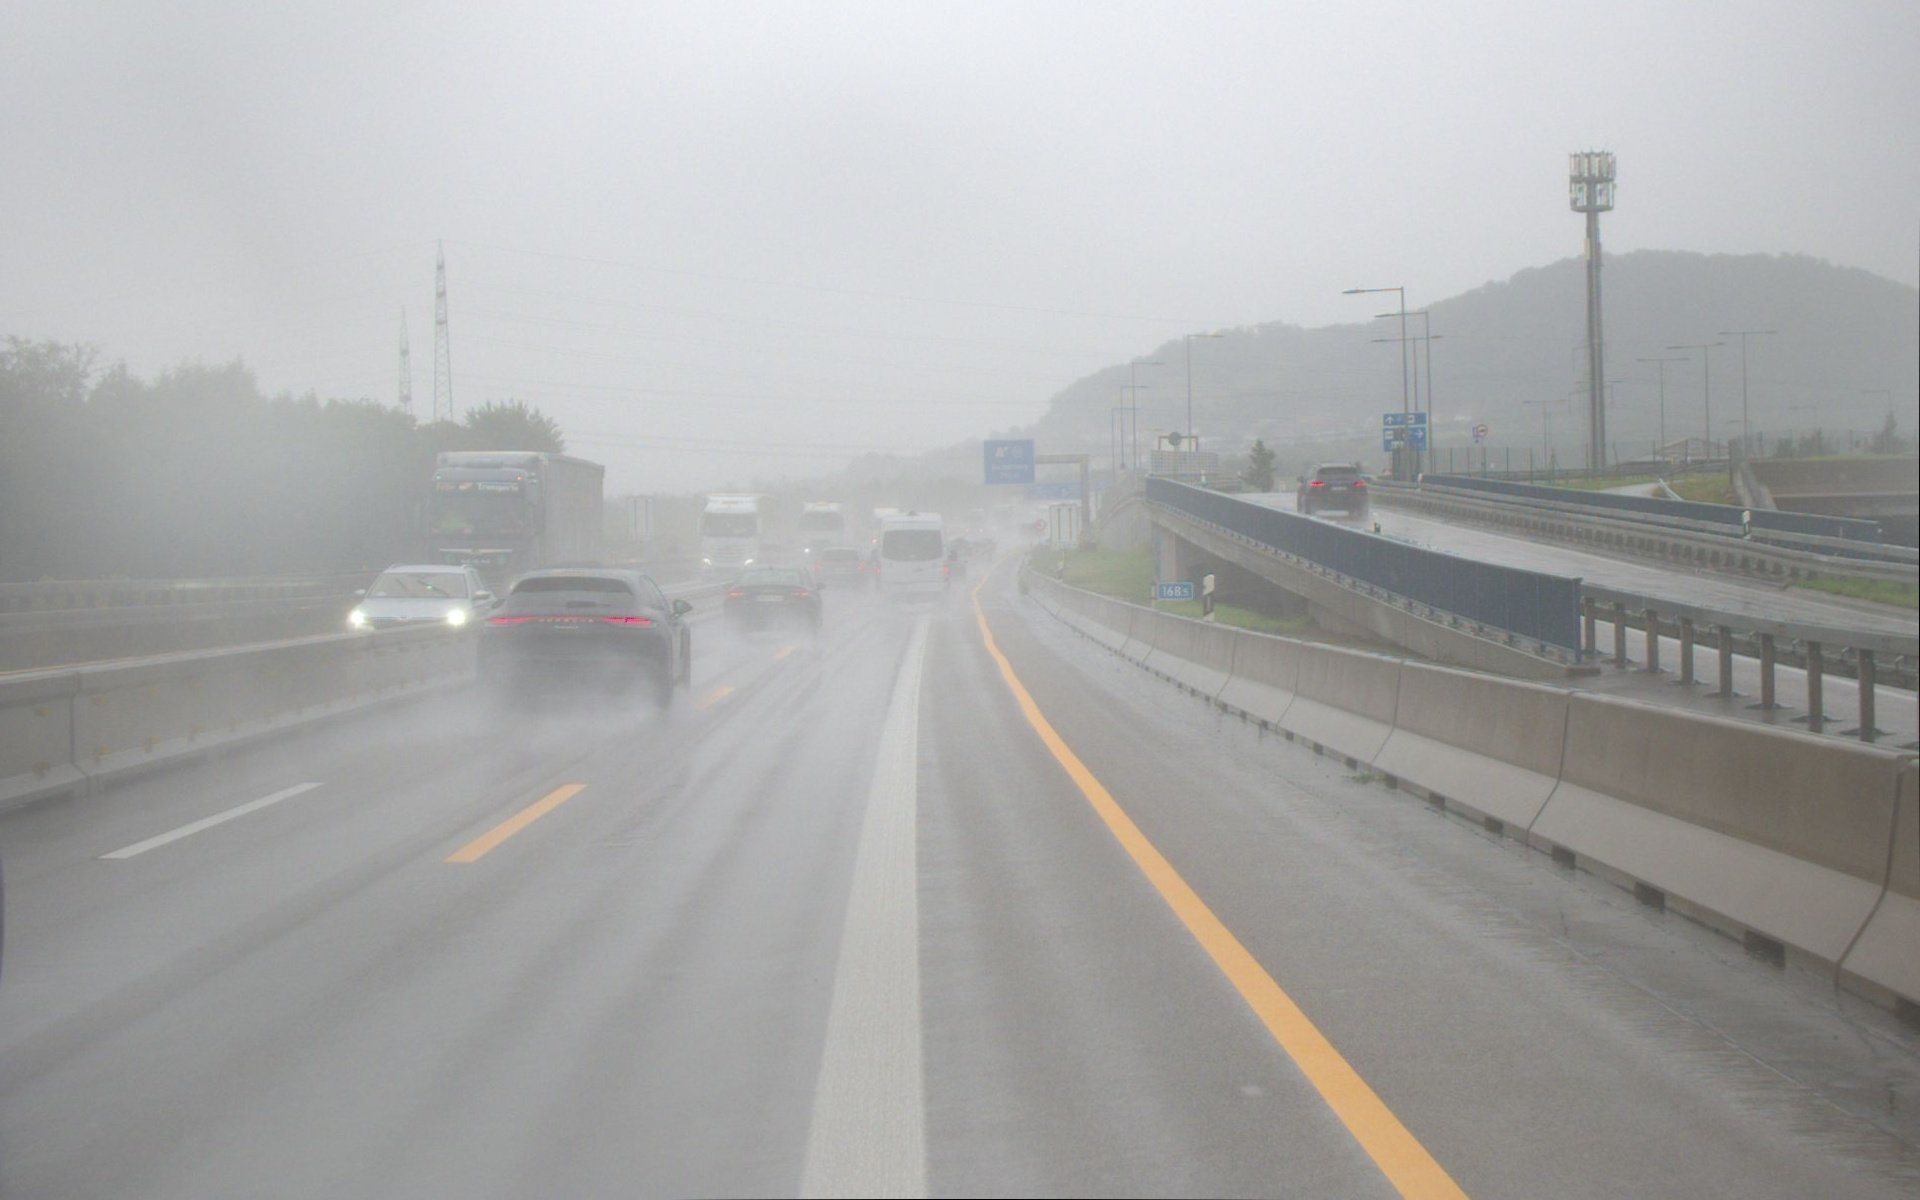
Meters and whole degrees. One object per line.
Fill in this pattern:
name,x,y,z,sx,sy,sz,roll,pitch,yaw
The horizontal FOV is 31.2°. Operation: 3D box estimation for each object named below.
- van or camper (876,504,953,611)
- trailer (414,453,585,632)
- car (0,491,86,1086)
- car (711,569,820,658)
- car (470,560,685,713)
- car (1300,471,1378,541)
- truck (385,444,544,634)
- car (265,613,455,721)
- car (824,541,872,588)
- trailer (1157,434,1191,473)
van or camper,-1.235,-1.116,91.937,1.996,2.768,4.050,0,0,-1
trailer,-11.221,-1.330,84.979,2.650,4.095,12.315,0,0,0
car,-3.392,0.514,7.743,1.701,1.592,4.845,0,0,-1
car,-3.641,0.222,65.073,1.844,1.486,4.262,-2,1,-1
car,-3.924,0.357,35.859,1.844,1.486,4.262,0,0,-1
car,12.137,-2.991,110.253,1.993,2.135,4.000,0,0,-1
truck,-11.194,-1.340,78.196,2.642,4.113,6.695,0,0,0
car,-8.893,0.964,51.325,2.038,1.501,4.720,0,0,-1
car,-3.820,-1.207,117.707,1.566,1.475,2.822,-2,0,-1
trailer,14.369,-9.839,231.779,1.994,2.099,13.767,0,0,2
